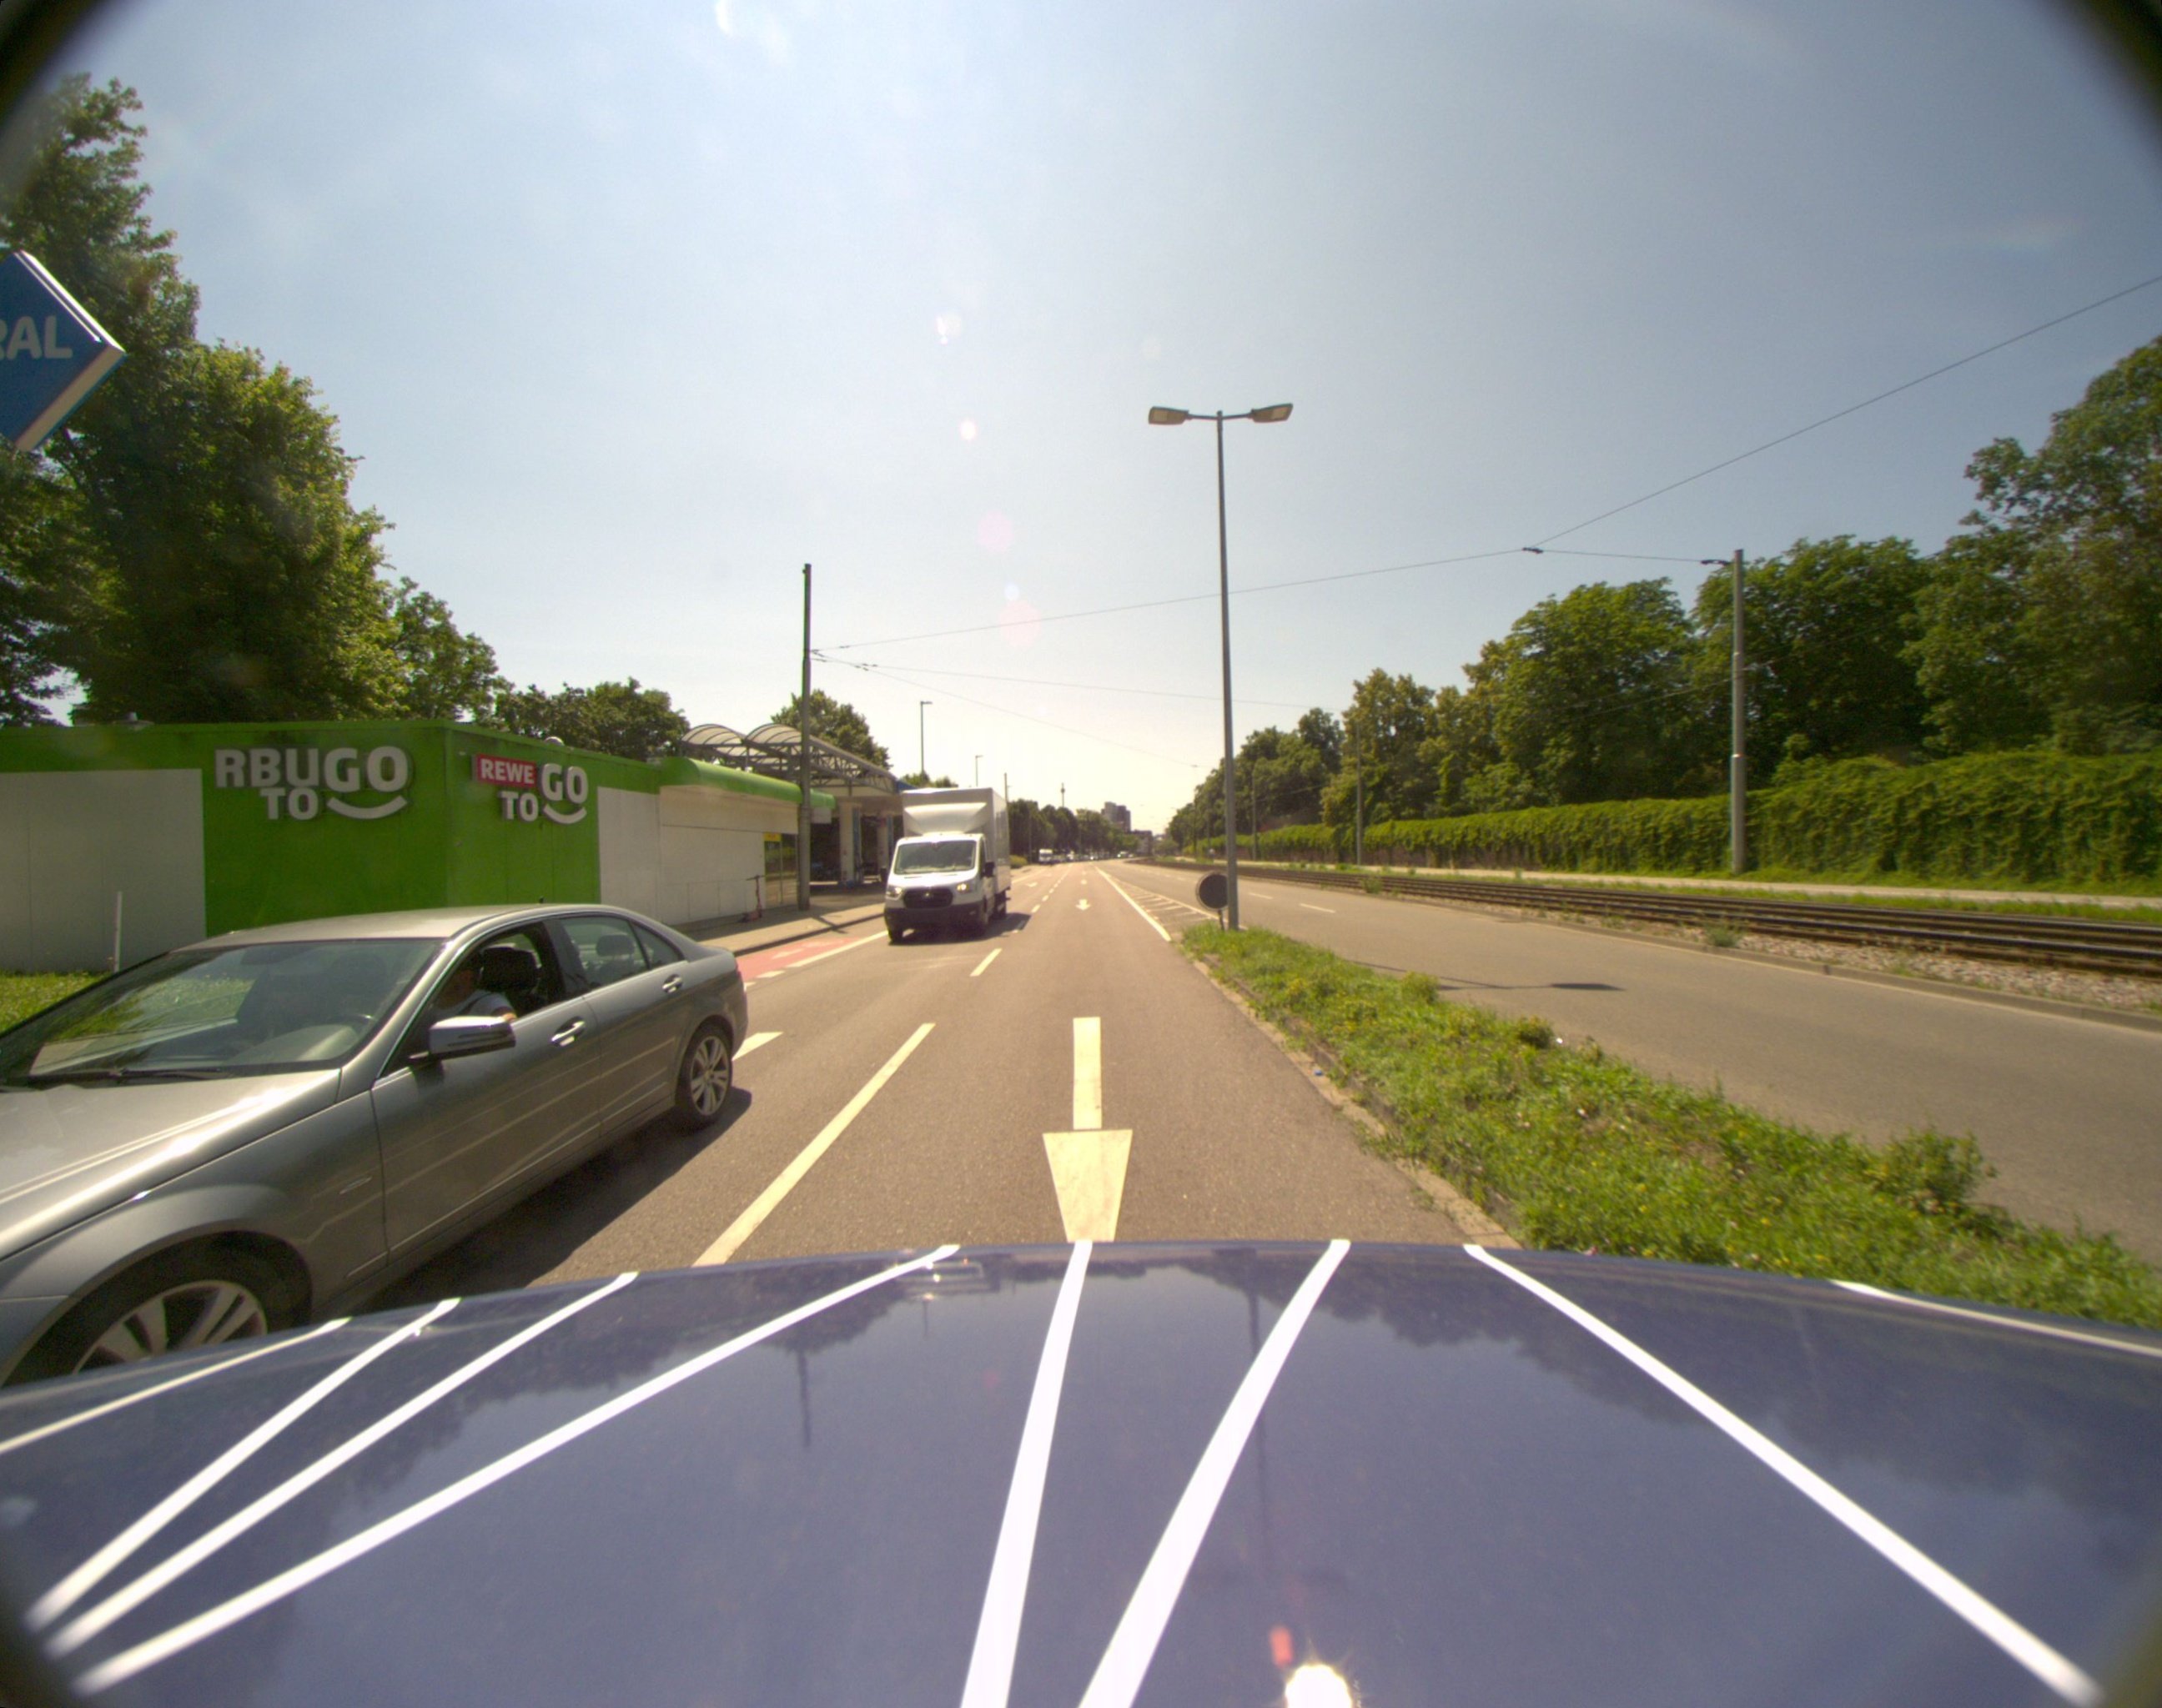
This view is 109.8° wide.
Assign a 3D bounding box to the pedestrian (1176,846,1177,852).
[{"bbox_3d":[27.453,-1.378,218.370,0.453,1.655,0.302,-2,1,0],"label":"pedestrian"}]

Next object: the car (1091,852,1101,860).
[{"bbox_3d":[3.539,0.552,173.714,1.946,1.674,4.001,-3,1,4],"label":"car"}]

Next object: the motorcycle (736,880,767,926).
[{"bbox_3d":[-8.642,1.267,19.975,0.253,1.099,1.117,4,1,0],"label":"motorcycle"}]

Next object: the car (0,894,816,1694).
[{"bbox_3d":[-3.155,1.104,3.708,1.717,1.464,5.302,-3,0,1],"label":"car"}]

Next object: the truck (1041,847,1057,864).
[{"bbox_3d":[-4.956,0.256,118.532,1.998,2.462,5.236,-3,1,0],"label":"truck"}]

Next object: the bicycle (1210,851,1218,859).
[{"bbox_3d":[17.347,0.127,99.051,0.618,1.049,1.978,-3,1,0],"label":"bicycle"}]

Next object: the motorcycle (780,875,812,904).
[{"bbox_3d":[-11.735,1.453,31.294,1.157,1.203,0.364,0,-1,-2],"label":"motorcycle"}]

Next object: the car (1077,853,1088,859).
[{"bbox_3d":[0.427,0.480,188.482,1.911,1.488,4.002,-3,1,9],"label":"car"}]

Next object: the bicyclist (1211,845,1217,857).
[{"bbox_3d":[17.314,-0.393,98.893,0.483,1.603,0.769,-3,1,-1],"label":"bicyclist"}]

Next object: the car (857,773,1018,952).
[{"bbox_3d":[-3.106,0.162,18.864,2.229,3.316,8.635,-3,0,0],"label":"car"}]
